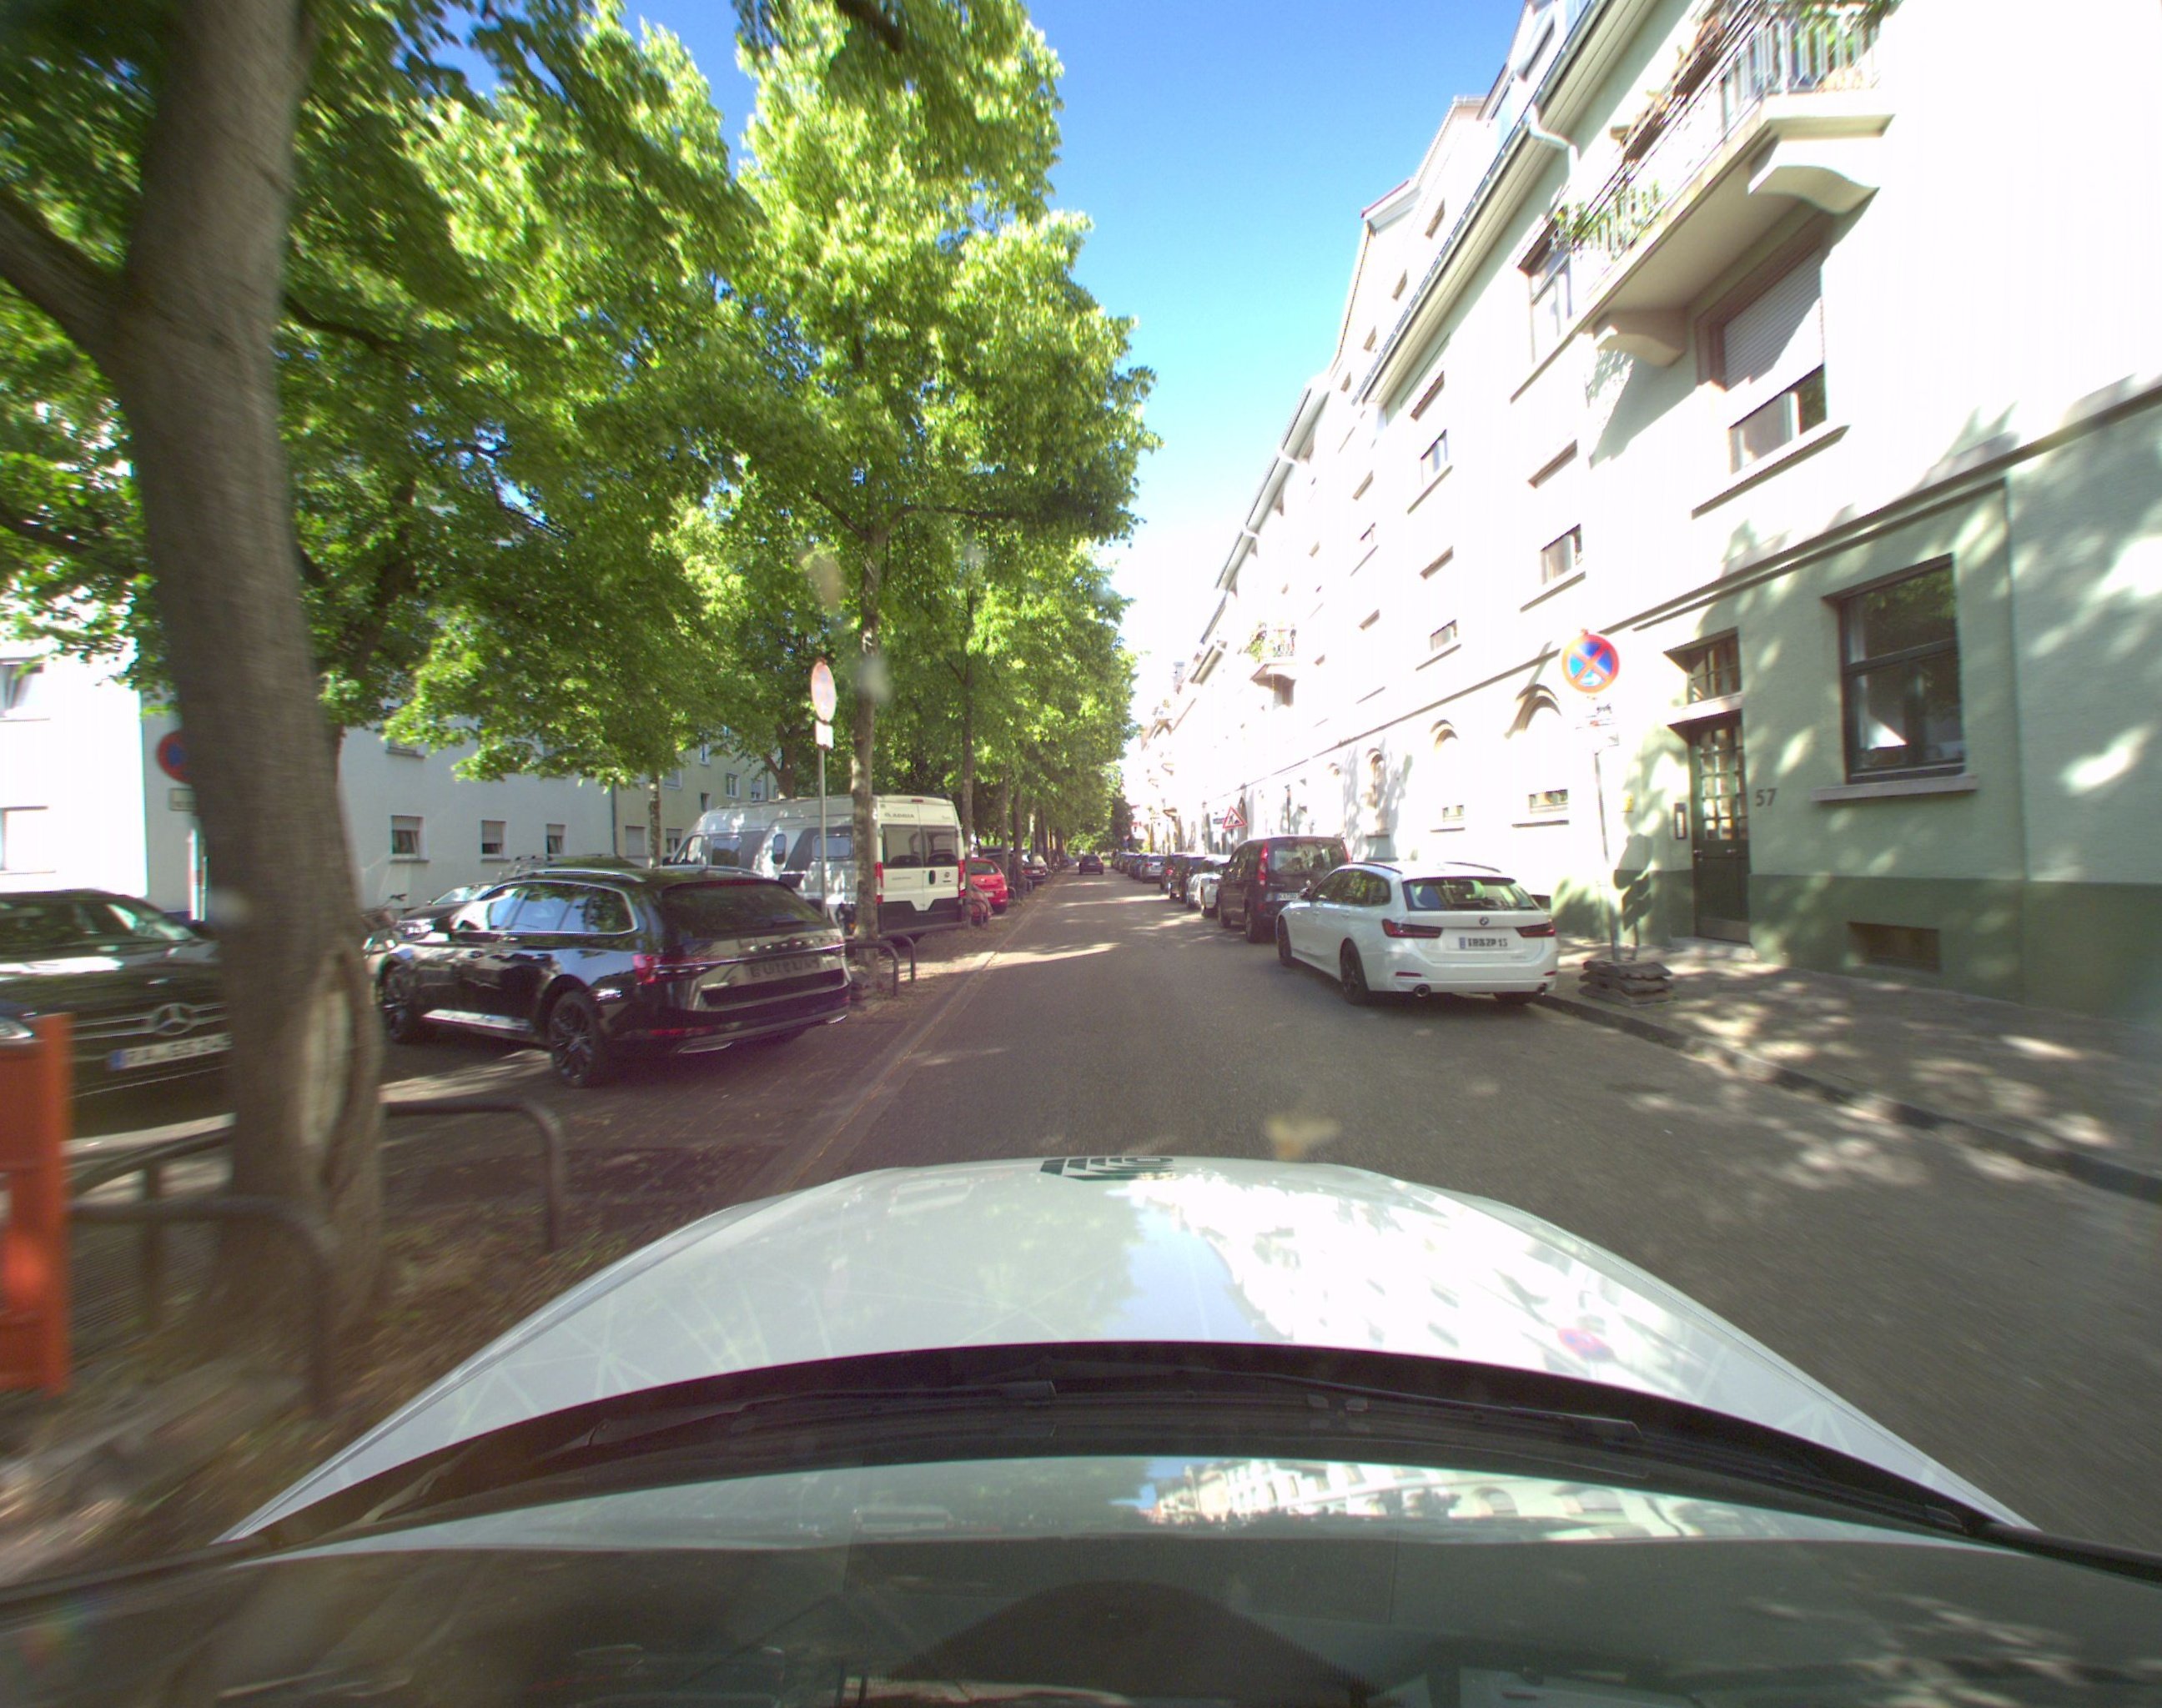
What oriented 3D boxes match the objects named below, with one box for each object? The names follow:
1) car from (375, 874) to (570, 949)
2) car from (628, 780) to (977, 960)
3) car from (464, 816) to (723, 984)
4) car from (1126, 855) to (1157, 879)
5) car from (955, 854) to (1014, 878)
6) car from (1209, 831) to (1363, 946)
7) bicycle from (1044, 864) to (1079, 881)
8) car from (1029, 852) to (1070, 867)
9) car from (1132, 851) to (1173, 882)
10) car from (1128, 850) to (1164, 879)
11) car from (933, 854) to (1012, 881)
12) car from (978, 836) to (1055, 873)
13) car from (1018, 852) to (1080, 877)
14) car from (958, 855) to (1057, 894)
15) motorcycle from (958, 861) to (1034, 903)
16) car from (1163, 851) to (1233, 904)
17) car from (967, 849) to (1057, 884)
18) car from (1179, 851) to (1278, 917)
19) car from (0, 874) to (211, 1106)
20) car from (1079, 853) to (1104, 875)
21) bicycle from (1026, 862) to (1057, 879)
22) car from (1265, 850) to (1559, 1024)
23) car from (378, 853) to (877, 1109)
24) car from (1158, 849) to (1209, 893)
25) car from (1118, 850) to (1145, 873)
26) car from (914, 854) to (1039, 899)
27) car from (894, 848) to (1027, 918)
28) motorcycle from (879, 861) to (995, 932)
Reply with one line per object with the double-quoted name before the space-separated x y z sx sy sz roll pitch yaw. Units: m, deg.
"car" -14.694 1.316 19.999 1.745 1.436 4.078 -4 0 -2
"car" -5.027 0.280 14.268 6.246 2.559 2.353 -1 -1 32
"car" -7.004 0.556 11.496 4.329 1.915 2.012 -2 0 43
"car" 3.768 0.800 51.110 1.686 1.468 4.005 0 0 0
"car" -7.004 0.877 58.988 3.865 1.555 1.858 -3 0 31
"car" 3.633 0.559 15.144 1.766 1.794 3.988 -2 0 -1
"bicycle" -1.082 0.988 44.172 1.882 0.919 0.381 -1 0 19
"car" -3.271 0.556 84.846 4.086 1.466 1.861 0 -1 -8
"car" 3.606 0.627 41.659 1.764 1.431 4.291 -2 0 1
"car" 3.684 0.582 46.723 1.761 1.551 4.183 -2 0 1
"car" -6.135 0.766 45.937 4.064 1.473 1.883 -1 0 29
"car" -5.624 0.106 71.465 6.019 2.623 2.465 -6 -2 15
"car" -2.118 0.691 53.477 3.649 1.596 1.783 -1 0 25
"car" -3.144 0.887 34.469 3.968 1.474 1.637 -3 0 35
"motorcycle" -2.594 0.860 24.956 2.134 1.230 0.884 -1 0 9
"car" 3.641 0.705 25.979 1.594 1.492 3.965 -2 0 -1
"car" -3.429 0.627 40.398 4.038 1.653 1.874 -1 0 27
"car" 3.601 0.687 20.669 1.602 1.420 4.567 -2 0 -1
"car" -8.237 0.934 6.025 2.923 1.453 1.250 -2 0 17
"car" 0.785 0.714 60.083 1.708 1.483 4.146 -3 0 2
"bicycle" -2.425 1.016 49.695 1.797 0.994 0.427 -2 -1 15
"car" 3.499 0.759 9.550 1.699 1.511 4.284 -2 0 1
"car" -3.797 0.787 6.661 4.048 1.525 1.712 -1 0 30
"car" 3.903 0.609 31.508 1.574 1.551 4.043 -1 0 2
"car" 3.795 0.563 61.634 1.798 1.563 4.322 -3 0 2
"car" -3.625 0.784 28.038 4.104 1.425 1.726 -2 -1 32
"car" -3.243 0.739 21.452 1.672 1.618 3.835 -2 0 -40
"motorcycle" -3.036 0.875 17.329 2.318 1.335 0.966 -3 0 -9
